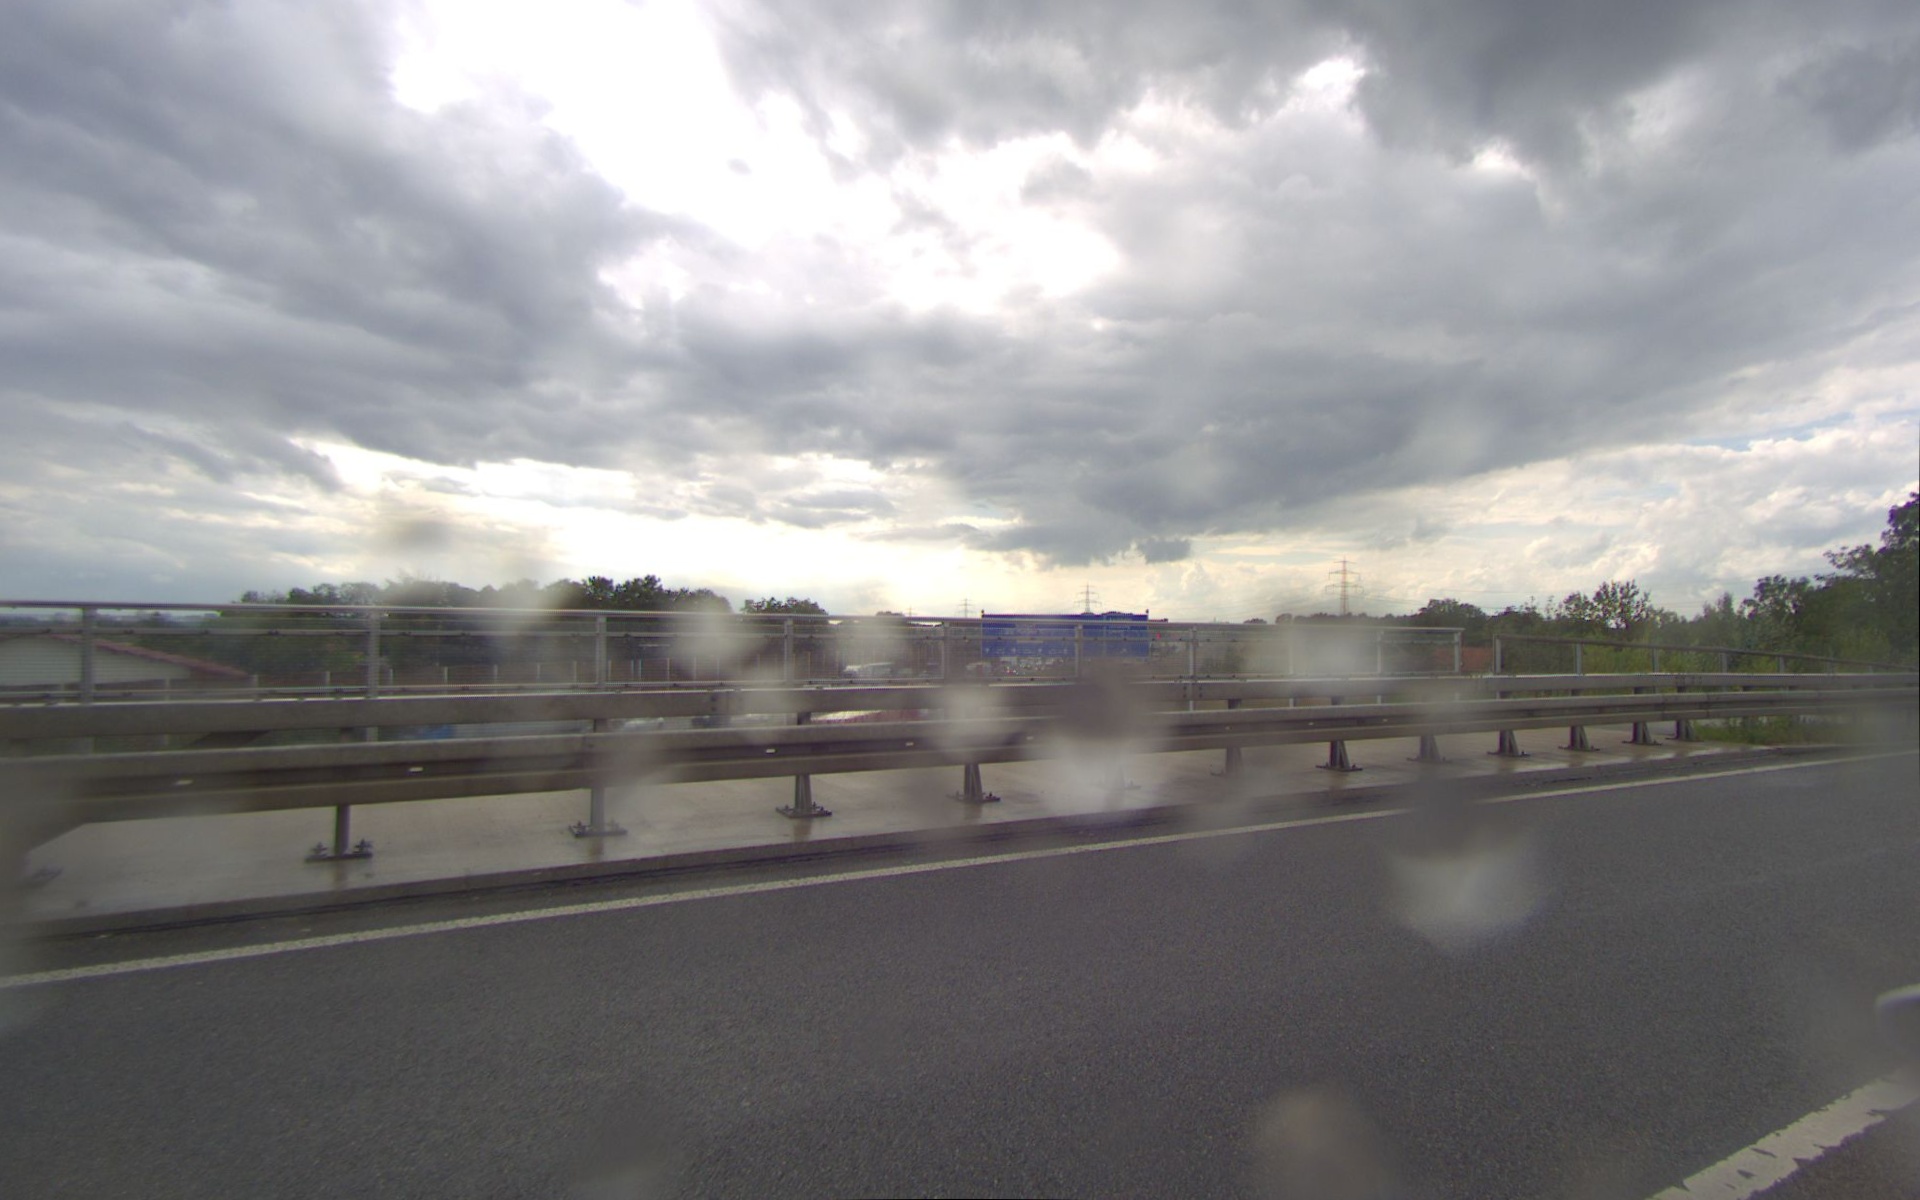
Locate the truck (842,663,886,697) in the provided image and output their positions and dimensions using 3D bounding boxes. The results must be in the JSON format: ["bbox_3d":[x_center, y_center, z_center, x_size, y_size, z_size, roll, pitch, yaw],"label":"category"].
[{"bbox_3d":[-14.162,11.815,149.574,2.388,4.250,11.173,1,0,17],"label":"truck"}]

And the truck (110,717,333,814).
[{"bbox_3d":[-42.223,9.292,58.159,2.388,3.812,11.173,1,0,17],"label":"truck"}]

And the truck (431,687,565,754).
[{"bbox_3d":[-34.891,8.997,76.599,2.388,3.812,11.173,1,0,17],"label":"truck"}]

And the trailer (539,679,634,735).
[{"bbox_3d":[-31.951,9.096,86.462,2.388,3.812,9.461,1,0,17],"label":"trailer"}]
